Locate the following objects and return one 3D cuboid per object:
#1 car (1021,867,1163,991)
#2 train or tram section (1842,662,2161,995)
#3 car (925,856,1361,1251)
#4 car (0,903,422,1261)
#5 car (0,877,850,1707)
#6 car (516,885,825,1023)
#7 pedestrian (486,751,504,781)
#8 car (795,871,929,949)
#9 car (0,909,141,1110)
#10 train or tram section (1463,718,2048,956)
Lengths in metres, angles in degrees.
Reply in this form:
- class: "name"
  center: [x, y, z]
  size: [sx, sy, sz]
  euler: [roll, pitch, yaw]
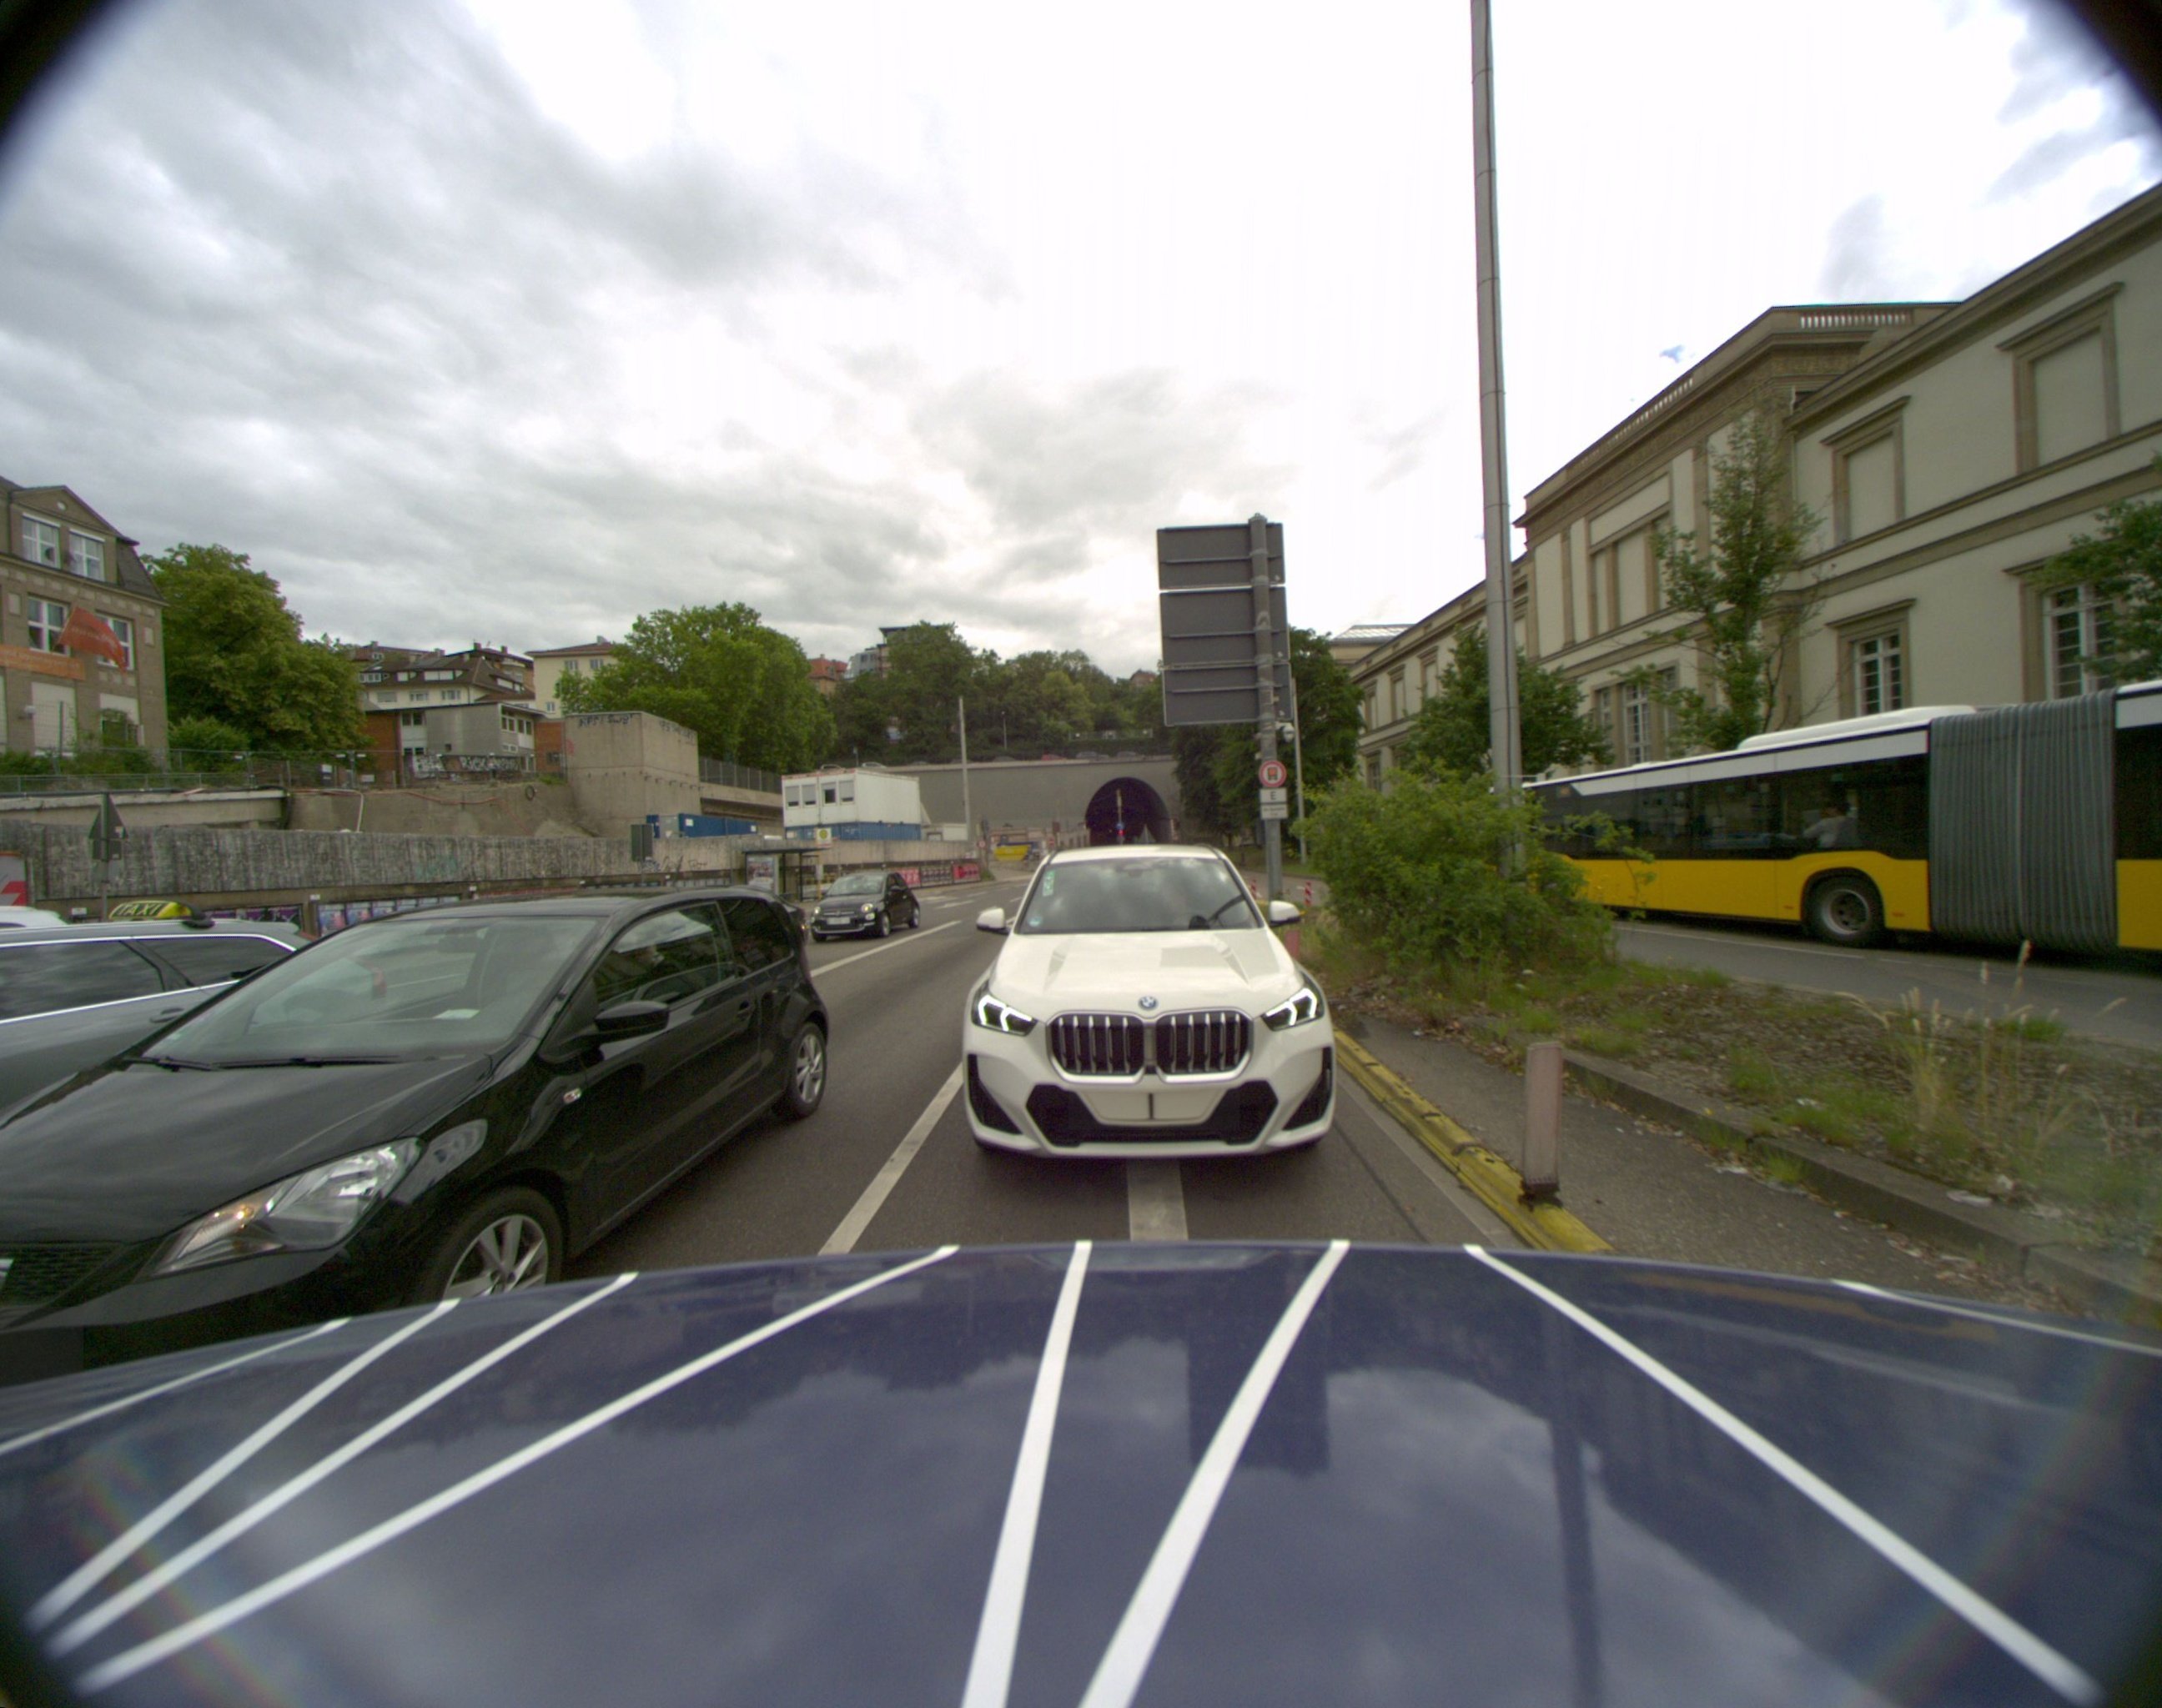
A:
- class: "car"
  center: [0.222, 0.995, 11.597]
  size: [1.756, 1.427, 3.911]
  euler: [-2, 0, 3]
- class: "train or tram section"
  center: [11.247, -0.250, 5.211]
  size: [2.700, 3.053, 9.336]
  euler: [-1, 0, 0]
- class: "car"
  center: [0.341, 0.852, 5.121]
  size: [1.756, 1.547, 3.911]
  euler: [-2, 1, 3]
- class: "car"
  center: [-5.823, 1.147, 3.453]
  size: [1.826, 1.457, 4.217]
  euler: [-2, 1, 2]
- class: "car"
  center: [-2.528, 0.983, 3.273]
  size: [1.661, 1.547, 3.911]
  euler: [-2, 1, 3]
- class: "car"
  center: [-5.398, 1.231, 10.759]
  size: [1.826, 1.356, 4.219]
  euler: [-2, 0, 4]
- class: "pedestrian"
  center: [-36.666, -5.522, 47.566]
  size: [0.554, 1.784, 0.570]
  euler: [-2, 1, 8]
- class: "car"
  center: [-4.896, 1.197, 17.550]
  size: [1.720, 1.450, 3.782]
  euler: [-3, 0, 4]
- class: "car"
  center: [-9.149, 1.263, 4.577]
  size: [1.826, 1.457, 4.073]
  euler: [-2, 1, 0]
- class: "train or tram section"
  center: [11.153, -0.222, 14.568]
  size: [2.701, 3.053, 9.375]
  euler: [-1, 0, -1]
